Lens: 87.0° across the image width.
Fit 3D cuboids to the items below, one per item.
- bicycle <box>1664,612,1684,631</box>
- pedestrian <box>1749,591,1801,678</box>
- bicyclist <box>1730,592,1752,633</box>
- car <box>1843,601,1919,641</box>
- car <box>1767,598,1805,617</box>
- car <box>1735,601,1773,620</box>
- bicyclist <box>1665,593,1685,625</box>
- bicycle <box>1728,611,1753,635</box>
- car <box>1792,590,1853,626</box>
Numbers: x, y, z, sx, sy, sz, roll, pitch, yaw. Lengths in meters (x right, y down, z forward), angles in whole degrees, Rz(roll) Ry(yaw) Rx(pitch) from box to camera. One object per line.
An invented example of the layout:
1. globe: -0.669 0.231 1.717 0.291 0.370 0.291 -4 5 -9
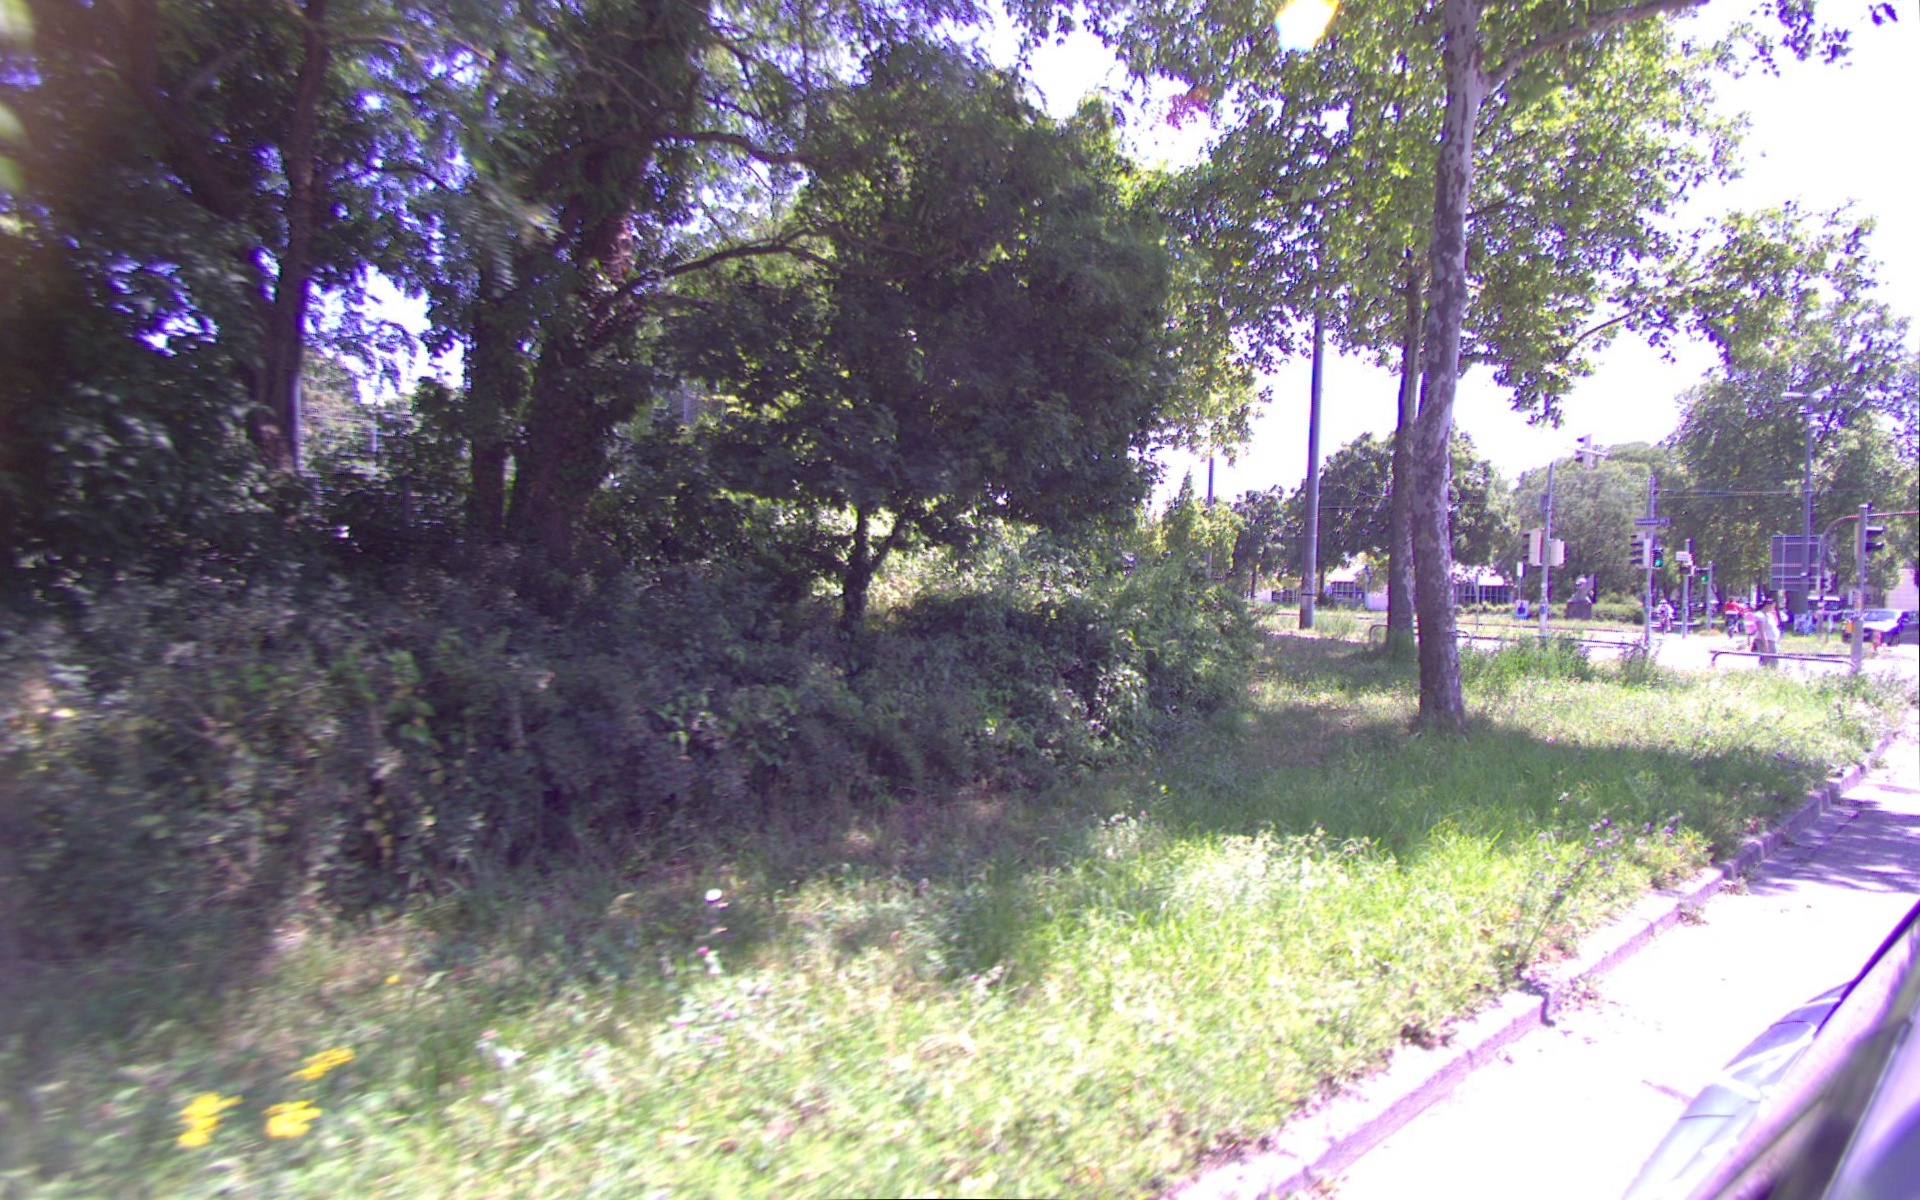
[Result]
1. bicycle: 30.850 0.912 43.721 0.464 0.773 1.642 3 2 42
2. pedestrian: 14.529 0.600 18.037 0.618 1.502 0.554 2 1 -38
3. bicyclist: 30.924 0.479 40.070 0.578 1.576 0.663 2 1 45
4. car: 36.659 0.821 39.644 3.784 1.480 1.658 1 1 -24
5. car: 77.360 0.666 94.864 1.982 1.638 3.960 2 1 29
6. car: 81.186 1.088 103.490 1.976 1.861 3.971 1 1 21
7. bicyclist: 30.886 0.389 43.712 0.599 1.355 0.656 3 1 43
8. bicycle: 30.953 0.912 40.120 0.587 0.907 1.782 2 1 44
9. car: 69.268 0.619 81.372 2.900 2.687 6.289 2 1 34
